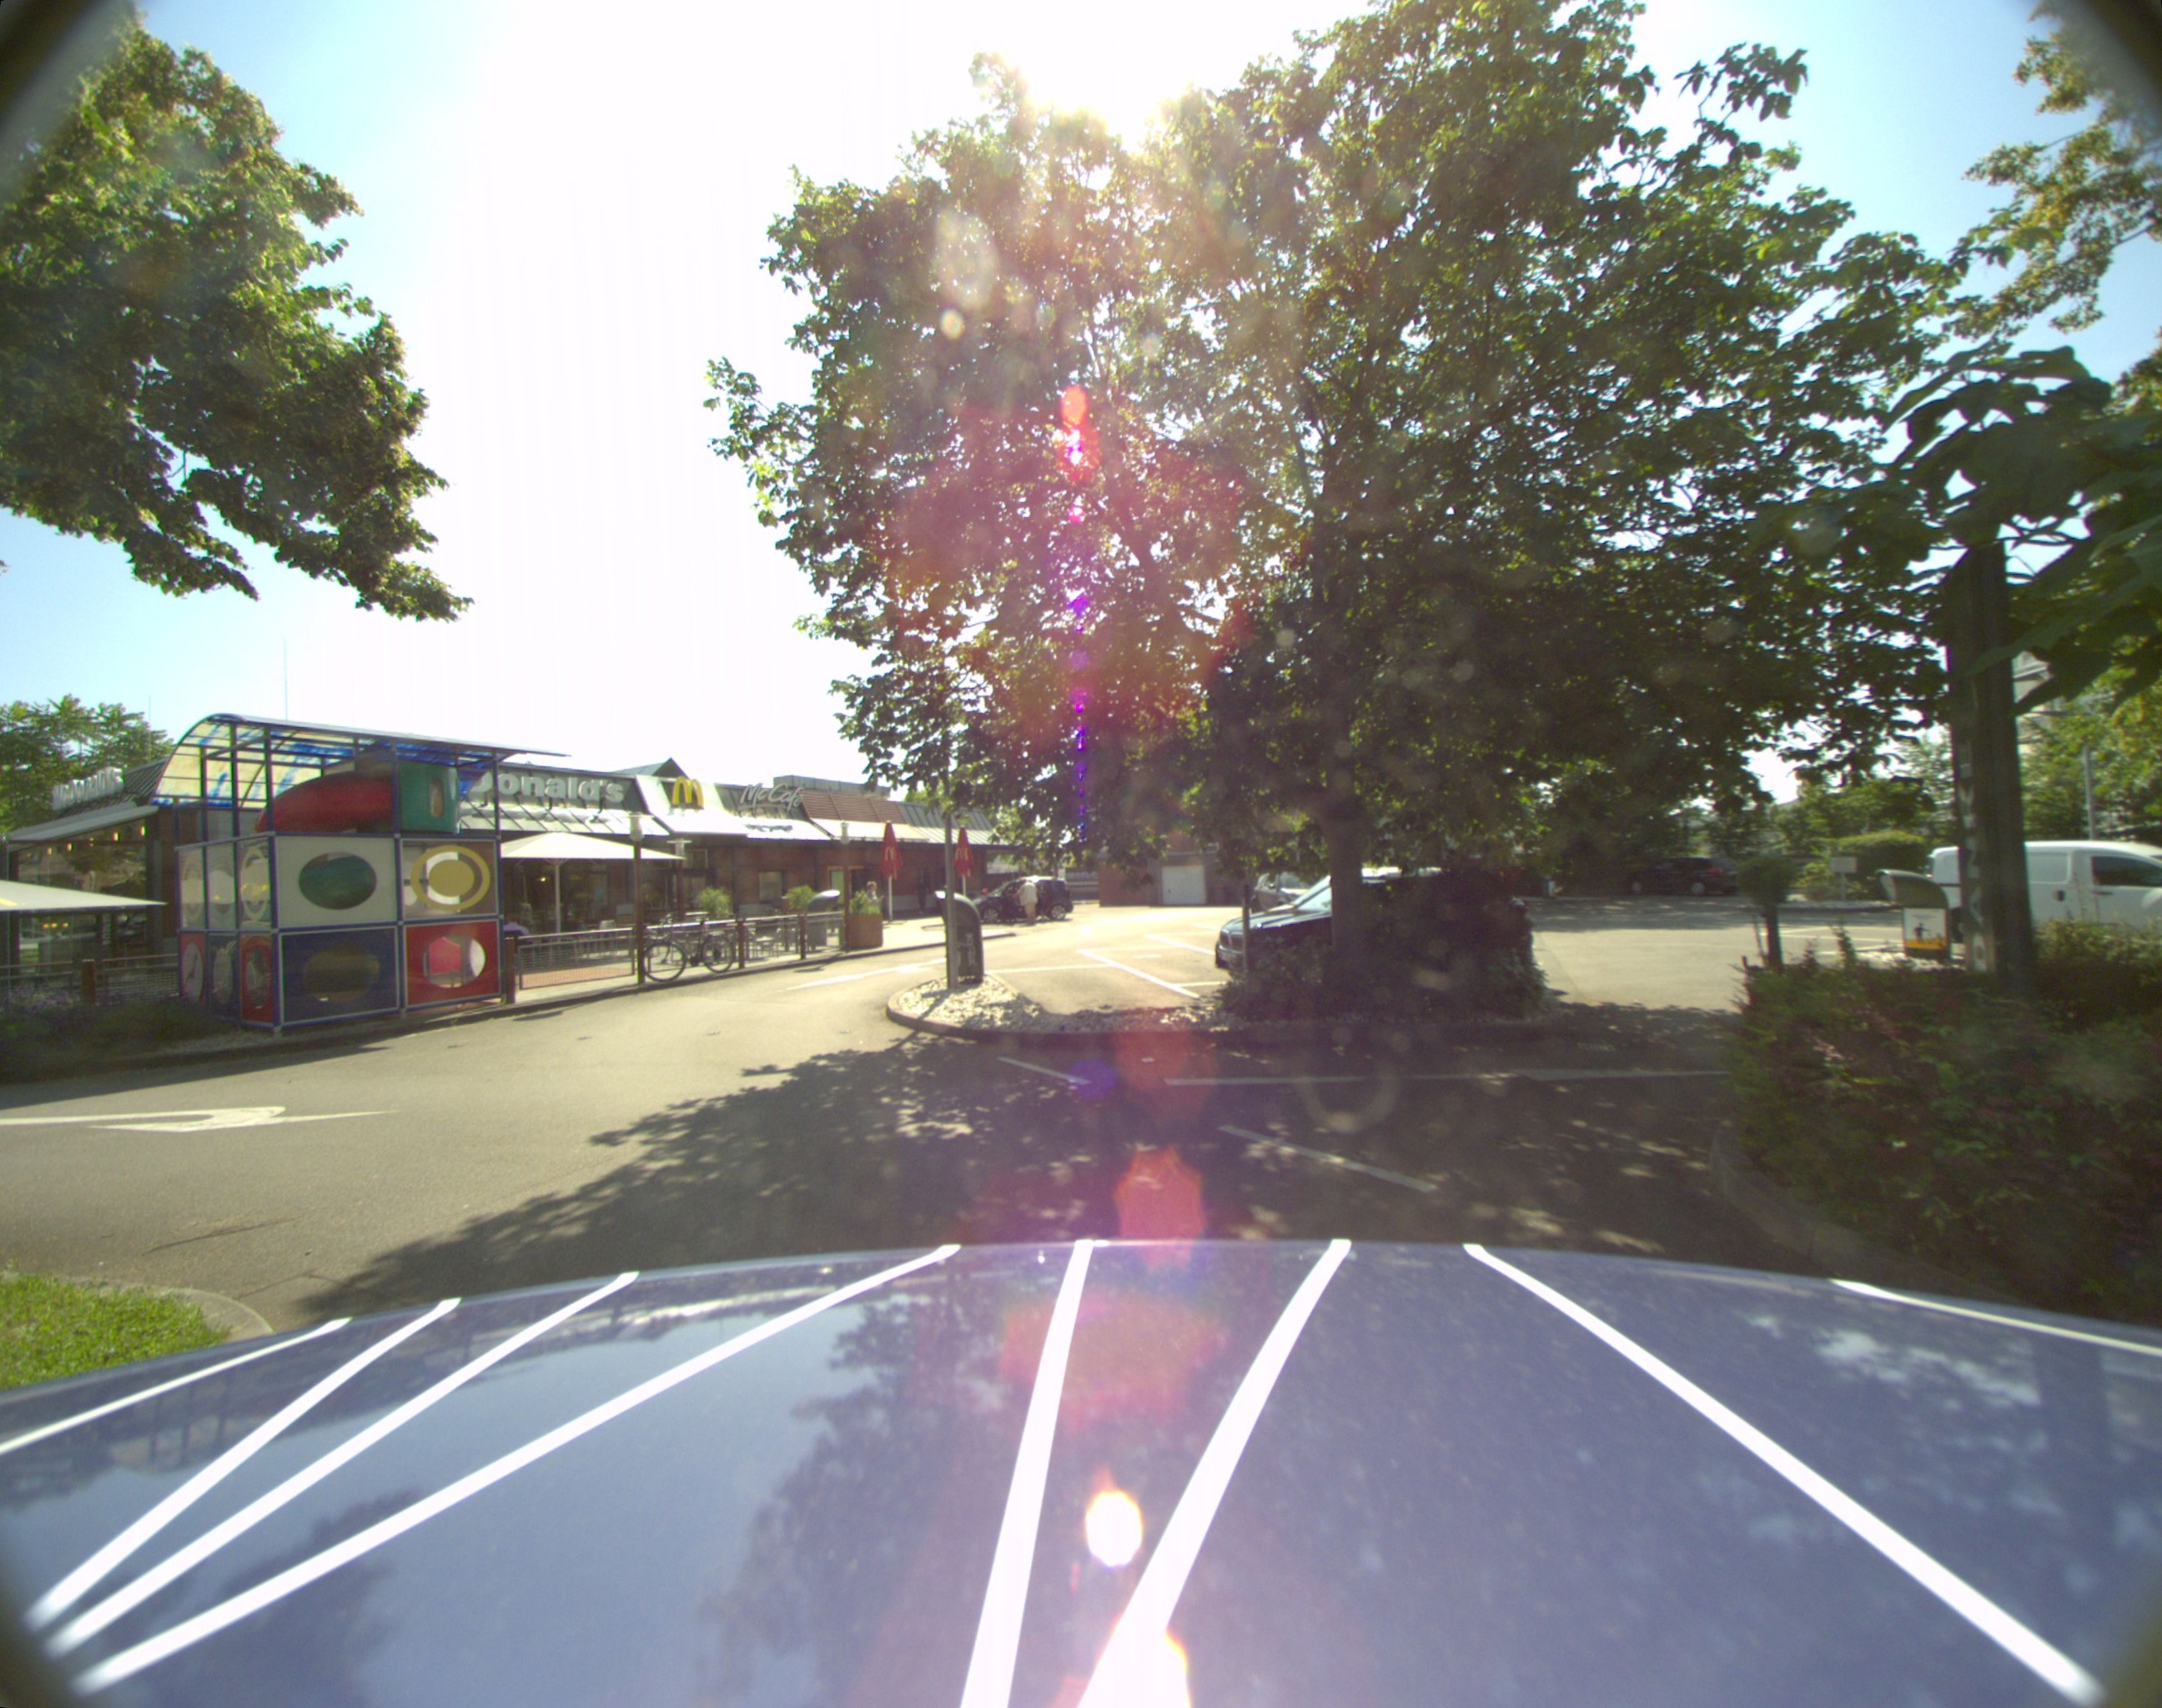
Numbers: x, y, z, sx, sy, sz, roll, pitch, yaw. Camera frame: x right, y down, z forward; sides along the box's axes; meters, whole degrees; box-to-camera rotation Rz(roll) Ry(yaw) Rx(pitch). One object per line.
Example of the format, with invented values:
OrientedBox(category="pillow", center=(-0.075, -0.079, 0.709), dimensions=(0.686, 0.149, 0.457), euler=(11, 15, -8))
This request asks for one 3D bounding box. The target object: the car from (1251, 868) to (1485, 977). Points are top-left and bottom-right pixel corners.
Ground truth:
OrientedBox(category="car", center=(5.666, 1.244, 14.996), dimensions=(4.233, 1.788, 1.757), euler=(-2, 0, -22))

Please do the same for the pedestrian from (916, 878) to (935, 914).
OrientedBox(category="pedestrian", center=(-7.224, 1.925, 35.239), dimensions=(0.541, 1.641, 0.624), euler=(-2, -1, 29))

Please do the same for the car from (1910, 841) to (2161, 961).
OrientedBox(category="car", center=(17.176, 0.725, 12.524), dimensions=(1.750, 1.816, 4.348), euler=(-2, -1, -19))

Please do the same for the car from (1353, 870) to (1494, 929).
OrientedBox(category="car", center=(10.650, 1.381, 23.676), dimensions=(3.725, 1.622, 1.667), euler=(-2, 0, -13))

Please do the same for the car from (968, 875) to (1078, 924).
OrientedBox(category="car", center=(-2.272, 1.711, 29.211), dimensions=(4.000, 1.647, 1.955), euler=(-1, -1, -10))

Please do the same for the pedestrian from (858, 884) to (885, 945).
OrientedBox(category="pedestrian", center=(-5.585, 1.596, 20.273), dimensions=(0.597, 1.558, 0.571), euler=(-2, 0, -12))

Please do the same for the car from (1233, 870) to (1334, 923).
OrientedBox(category="car", center=(6.462, 1.313, 24.611), dimensions=(1.621, 1.523, 3.609), euler=(-2, -1, -13))

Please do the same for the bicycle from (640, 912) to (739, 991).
OrientedBox(category="bicycle", center=(-7.005, 1.715, 13.666), dimensions=(0.309, 1.180, 1.615), euler=(0, 2, 32))

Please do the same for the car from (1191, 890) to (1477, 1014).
OrientedBox(category="car", center=(3.869, 1.380, 11.643), dimensions=(4.004, 1.484, 1.653), euler=(-1, -1, -22))

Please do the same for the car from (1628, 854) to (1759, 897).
OrientedBox(category="car", center=(24.893, 0.849, 31.055), dimensions=(1.820, 1.567, 3.866), euler=(-2, -1, -13))

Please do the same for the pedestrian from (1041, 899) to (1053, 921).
OrientedBox(category="pedestrian", center=(-1.268, 2.091, 28.477), dimensions=(0.365, 0.774, 0.335), euler=(-2, -1, -11))

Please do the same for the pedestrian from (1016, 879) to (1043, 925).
OrientedBox(category="pedestrian", center=(-1.877, 1.721, 27.633), dimensions=(0.833, 1.627, 0.788), euler=(-2, -1, -11))

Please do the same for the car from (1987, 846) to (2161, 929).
OrientedBox(category="car", center=(21.670, 0.639, 15.377), dimensions=(1.907, 1.574, 3.806), euler=(-2, -1, -17))
